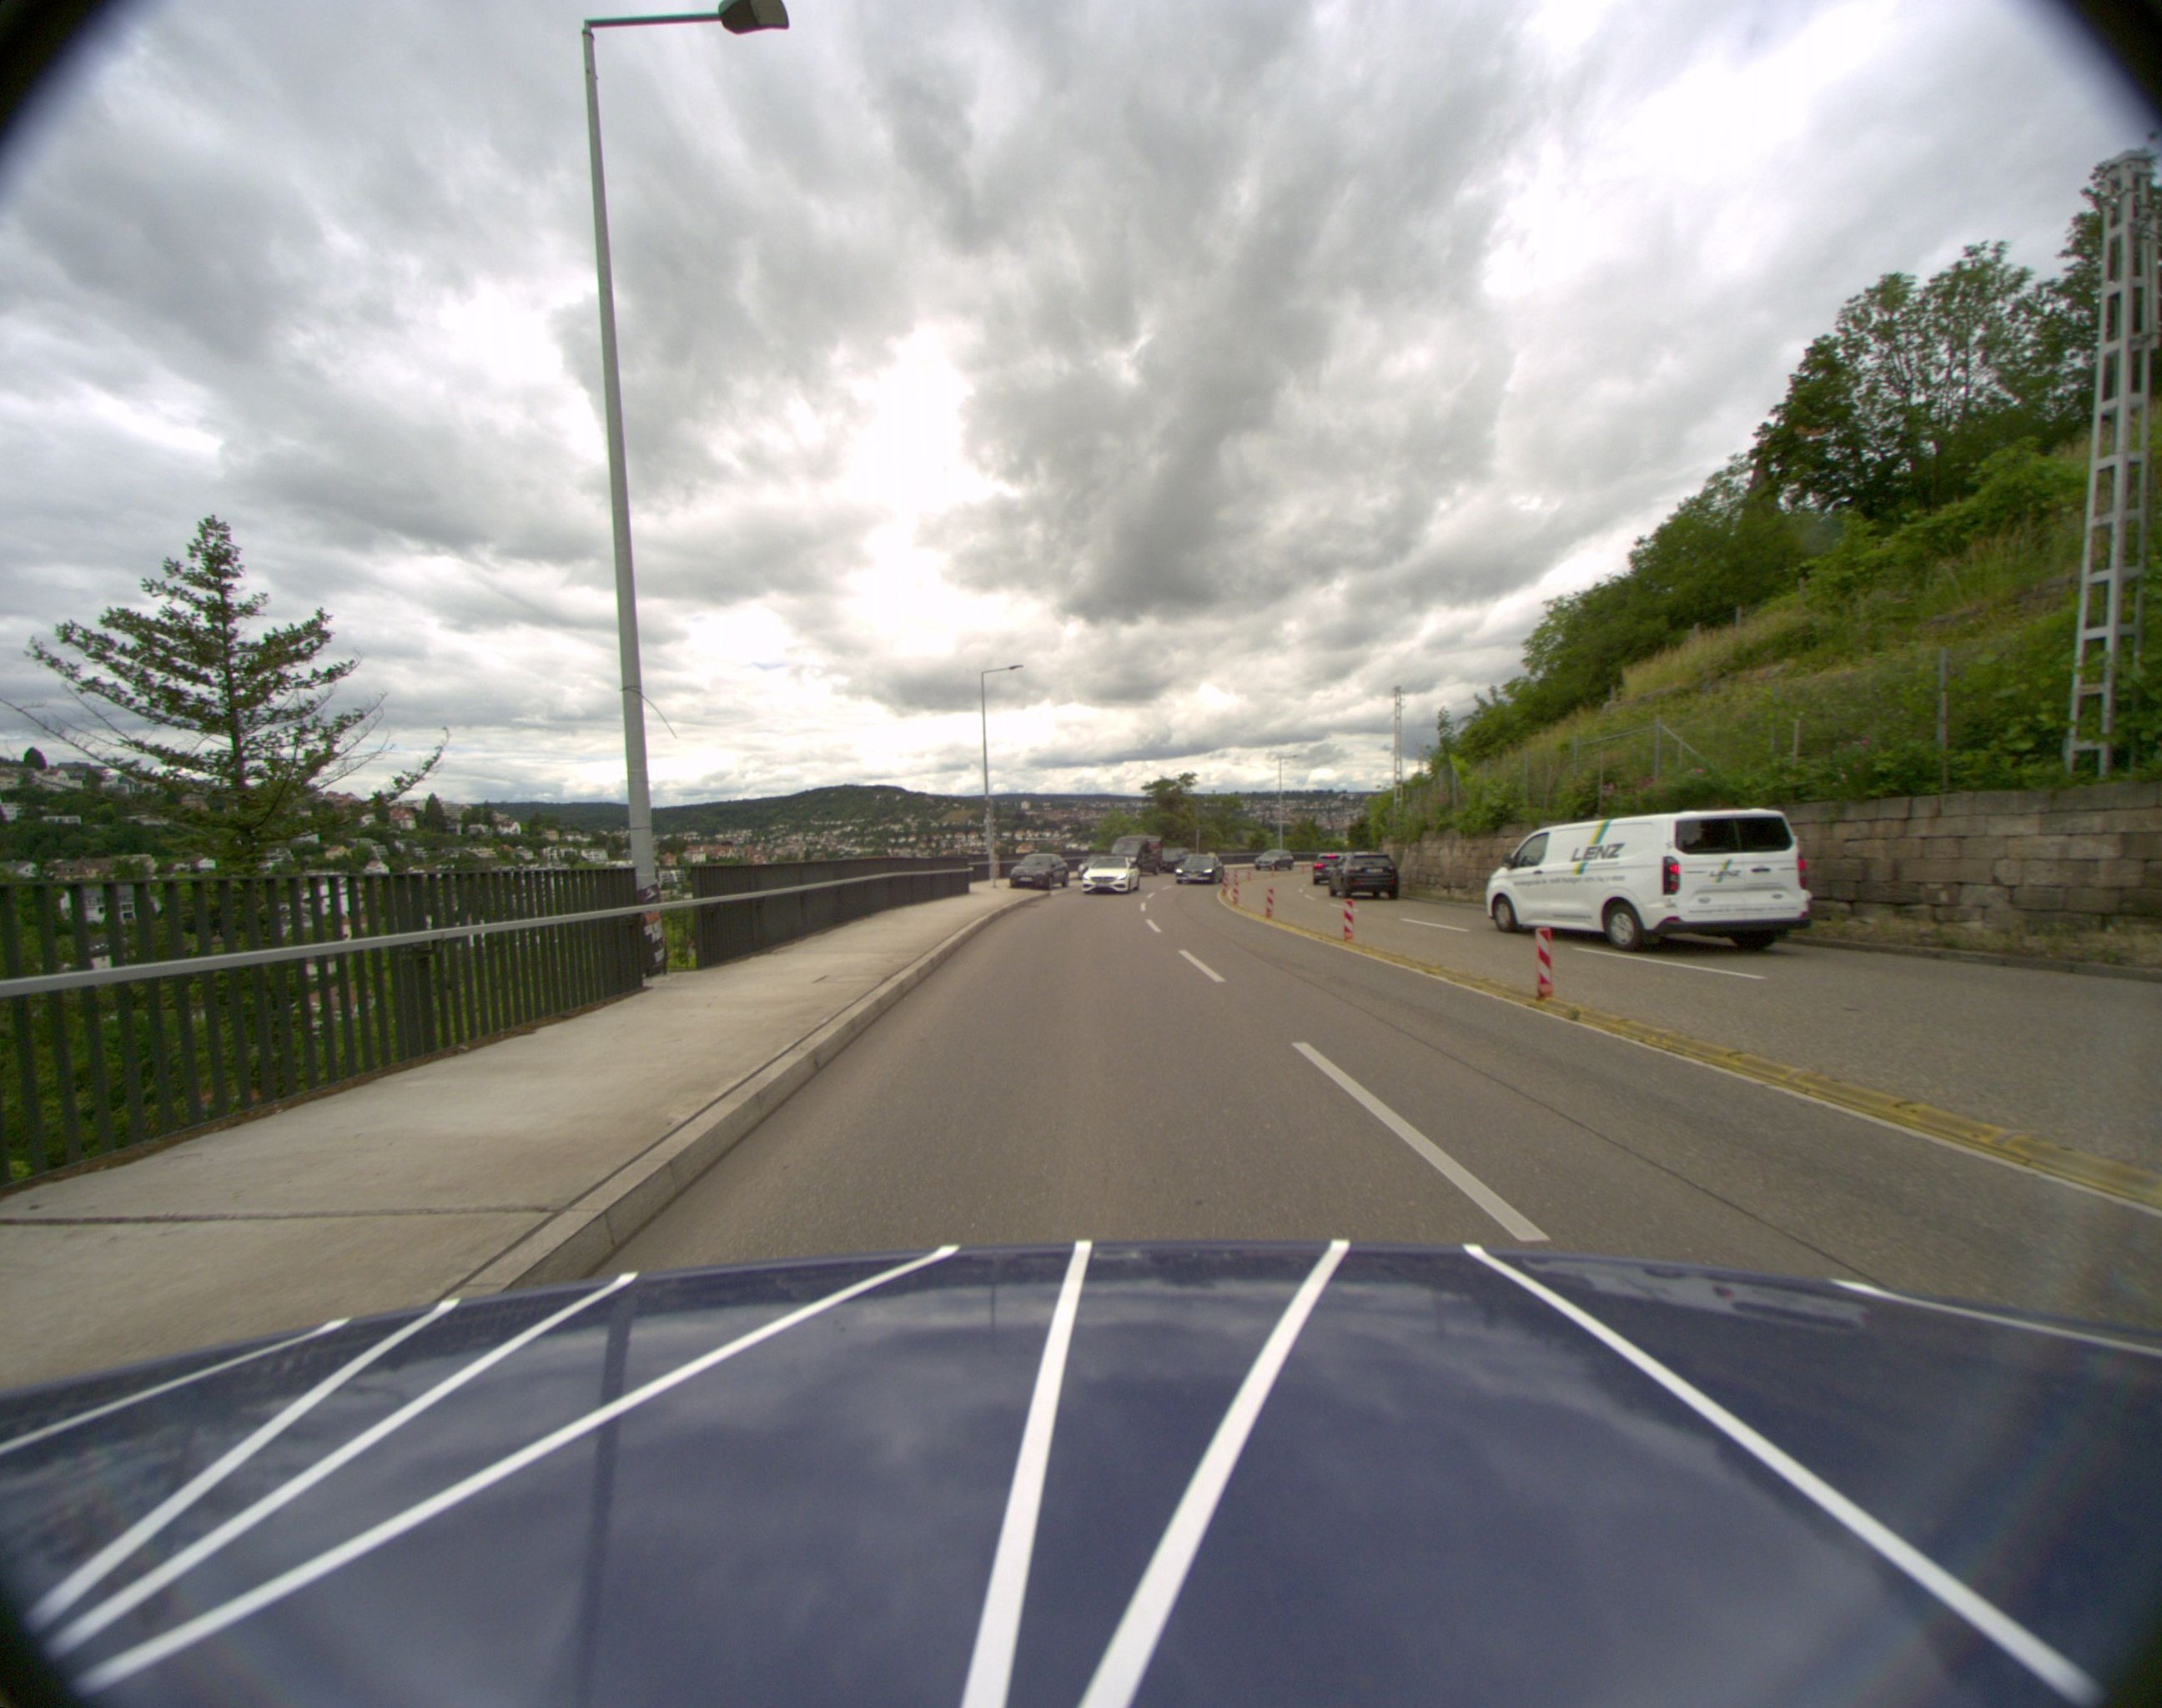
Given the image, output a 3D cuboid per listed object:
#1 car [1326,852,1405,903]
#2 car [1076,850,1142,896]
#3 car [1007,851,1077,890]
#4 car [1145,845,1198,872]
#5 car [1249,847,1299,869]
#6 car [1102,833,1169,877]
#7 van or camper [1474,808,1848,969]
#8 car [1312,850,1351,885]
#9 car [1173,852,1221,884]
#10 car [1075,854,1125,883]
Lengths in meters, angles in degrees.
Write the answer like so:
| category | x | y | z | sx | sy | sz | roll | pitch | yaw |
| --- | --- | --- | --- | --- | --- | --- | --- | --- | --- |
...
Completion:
| category | x | y | z | sx | sy | sz | roll | pitch | yaw |
| --- | --- | --- | --- | --- | --- | --- | --- | --- | --- |
| car | 9.988 | 0.761 | 26.980 | 1.867 | 1.614 | 4.351 | -1 | 0 | 11 |
| car | 1.190 | 0.773 | 30.308 | 1.997 | 1.707 | 4.005 | -1 | -2 | 12 |
| car | -1.623 | 0.679 | 33.308 | 1.877 | 1.534 | 4.094 | 0 | 1 | 15 |
| car | 6.429 | 0.263 | 53.339 | 1.994 | 1.709 | 5.057 | 3 | 3 | 28 |
| car | 15.699 | 0.281 | 61.580 | 1.994 | 1.661 | 4.547 | -1 | 0 | 42 |
| car | 3.522 | 0.014 | 47.545 | 2.167 | 2.508 | 5.780 | 4 | 2 | 25 |
| van or camper | 8.627 | 0.458 | 12.098 | 2.153 | 2.004 | 4.964 | -1 | 0 | 0 |
| car | 13.244 | 0.680 | 40.222 | 1.845 | 1.716 | 4.468 | 0 | 1 | 18 |
| car | 5.987 | 0.671 | 38.779 | 1.898 | 1.485 | 4.146 | 1 | 1 | 16 |
| car | 1.105 | 0.747 | 41.757 | 1.716 | 1.423 | 3.855 | 1 | 1 | 17 |
